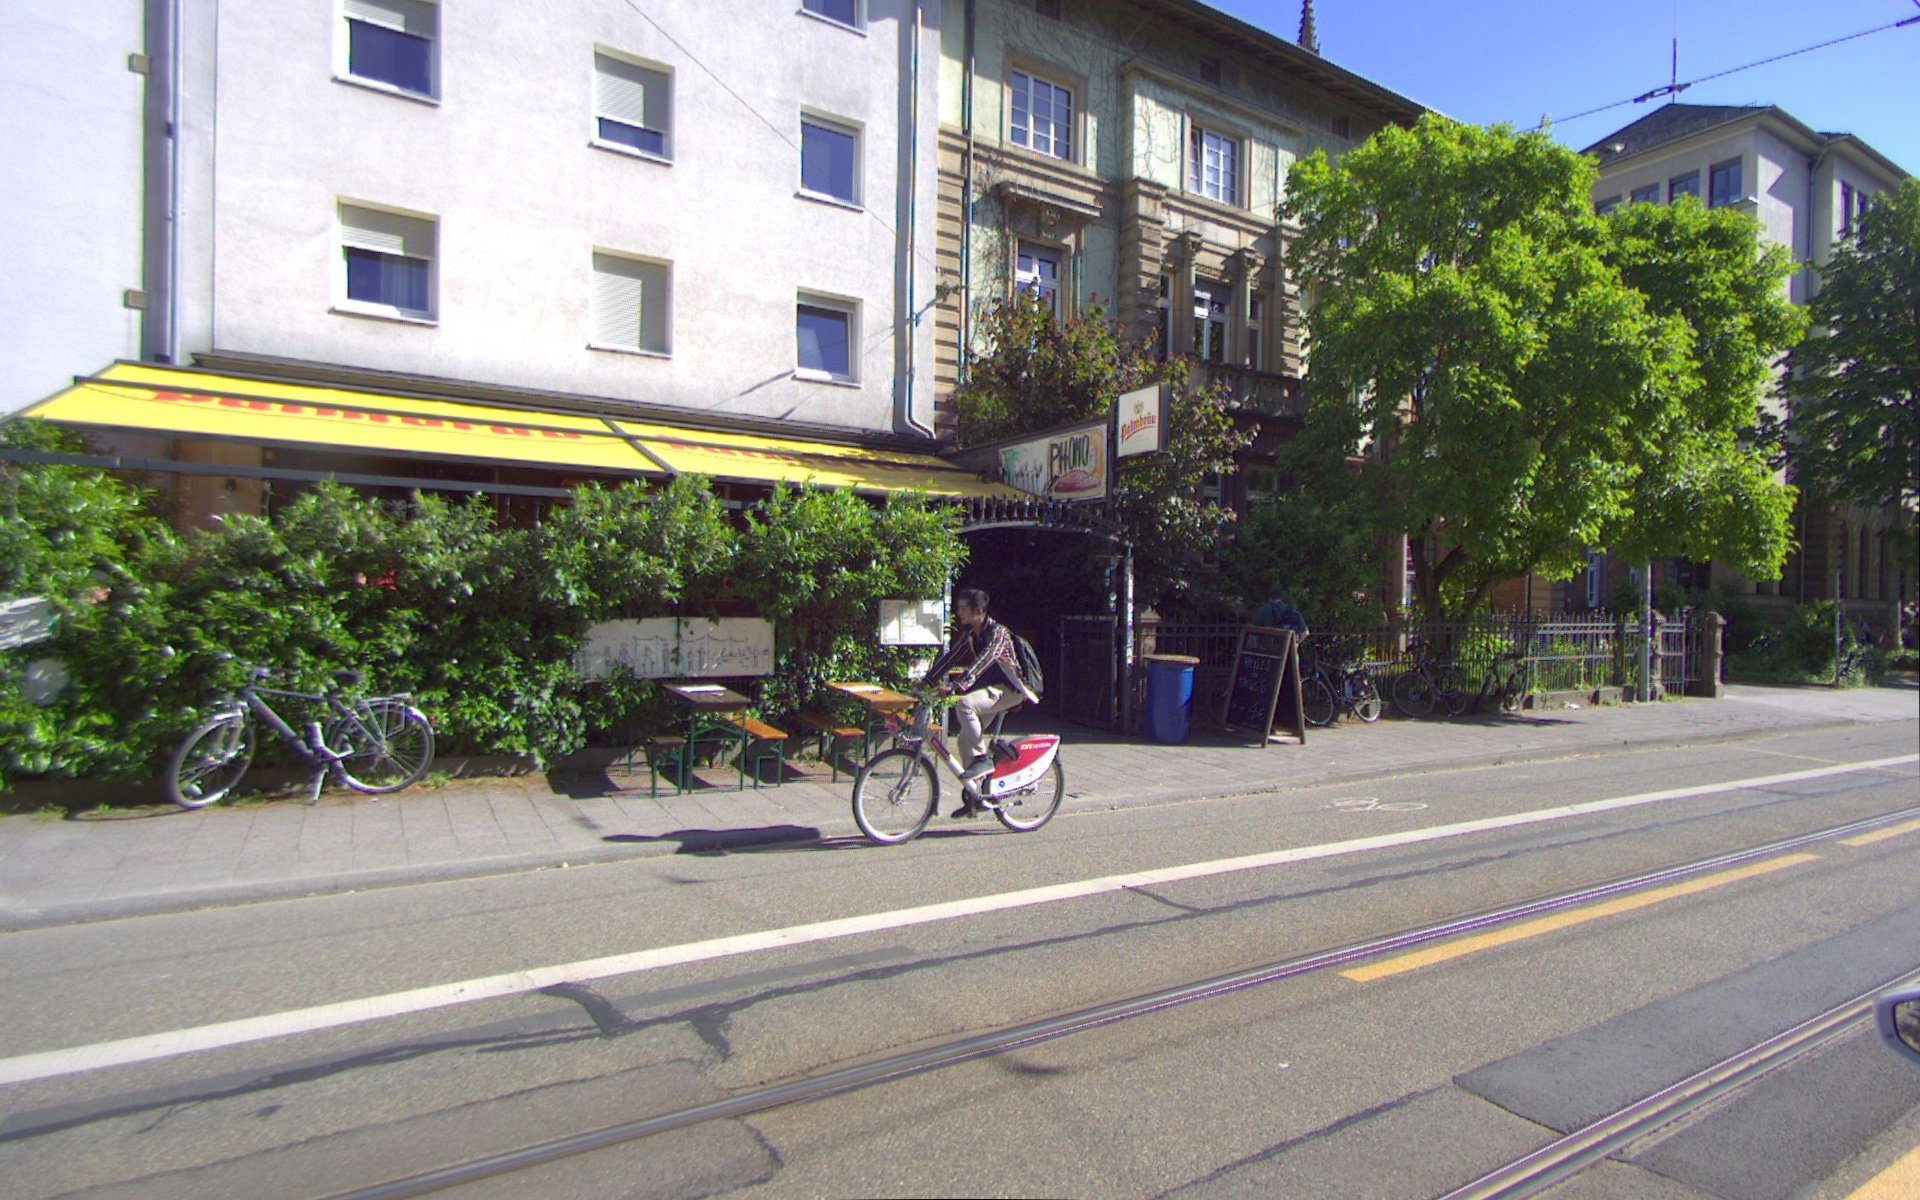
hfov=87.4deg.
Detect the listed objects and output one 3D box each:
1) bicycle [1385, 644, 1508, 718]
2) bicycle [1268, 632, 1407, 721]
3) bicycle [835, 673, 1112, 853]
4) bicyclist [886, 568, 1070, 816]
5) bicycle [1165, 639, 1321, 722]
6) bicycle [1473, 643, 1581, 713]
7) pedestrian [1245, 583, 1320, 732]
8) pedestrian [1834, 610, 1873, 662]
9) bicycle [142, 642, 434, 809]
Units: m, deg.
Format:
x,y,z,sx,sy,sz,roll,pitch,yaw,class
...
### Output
x,y,z,sx,sy,sz,roll,pitch,yaw,class
7.499,1.235,15.475,1.878,1.059,0.588,2,1,-23,bicycle
5.358,1.073,14.243,1.878,1.159,0.644,2,2,-23,bicycle
0.117,1.091,7.175,1.876,1.096,0.742,2,-3,-30,bicycle
0.123,0.631,7.196,1.104,1.620,0.742,1,-3,-30,bicyclist
3.864,1.095,13.731,1.988,1.059,0.637,2,0,-15,bicycle
9.311,1.267,16.484,1.881,1.059,0.587,2,2,-28,bicycle
4.126,0.730,12.890,0.677,1.856,0.576,1,0,-12,pedestrian
32.415,1.310,36.441,0.770,1.821,0.726,2,3,-28,pedestrian
-4.903,0.876,7.460,1.722,1.073,0.635,1,2,-30,bicycle
